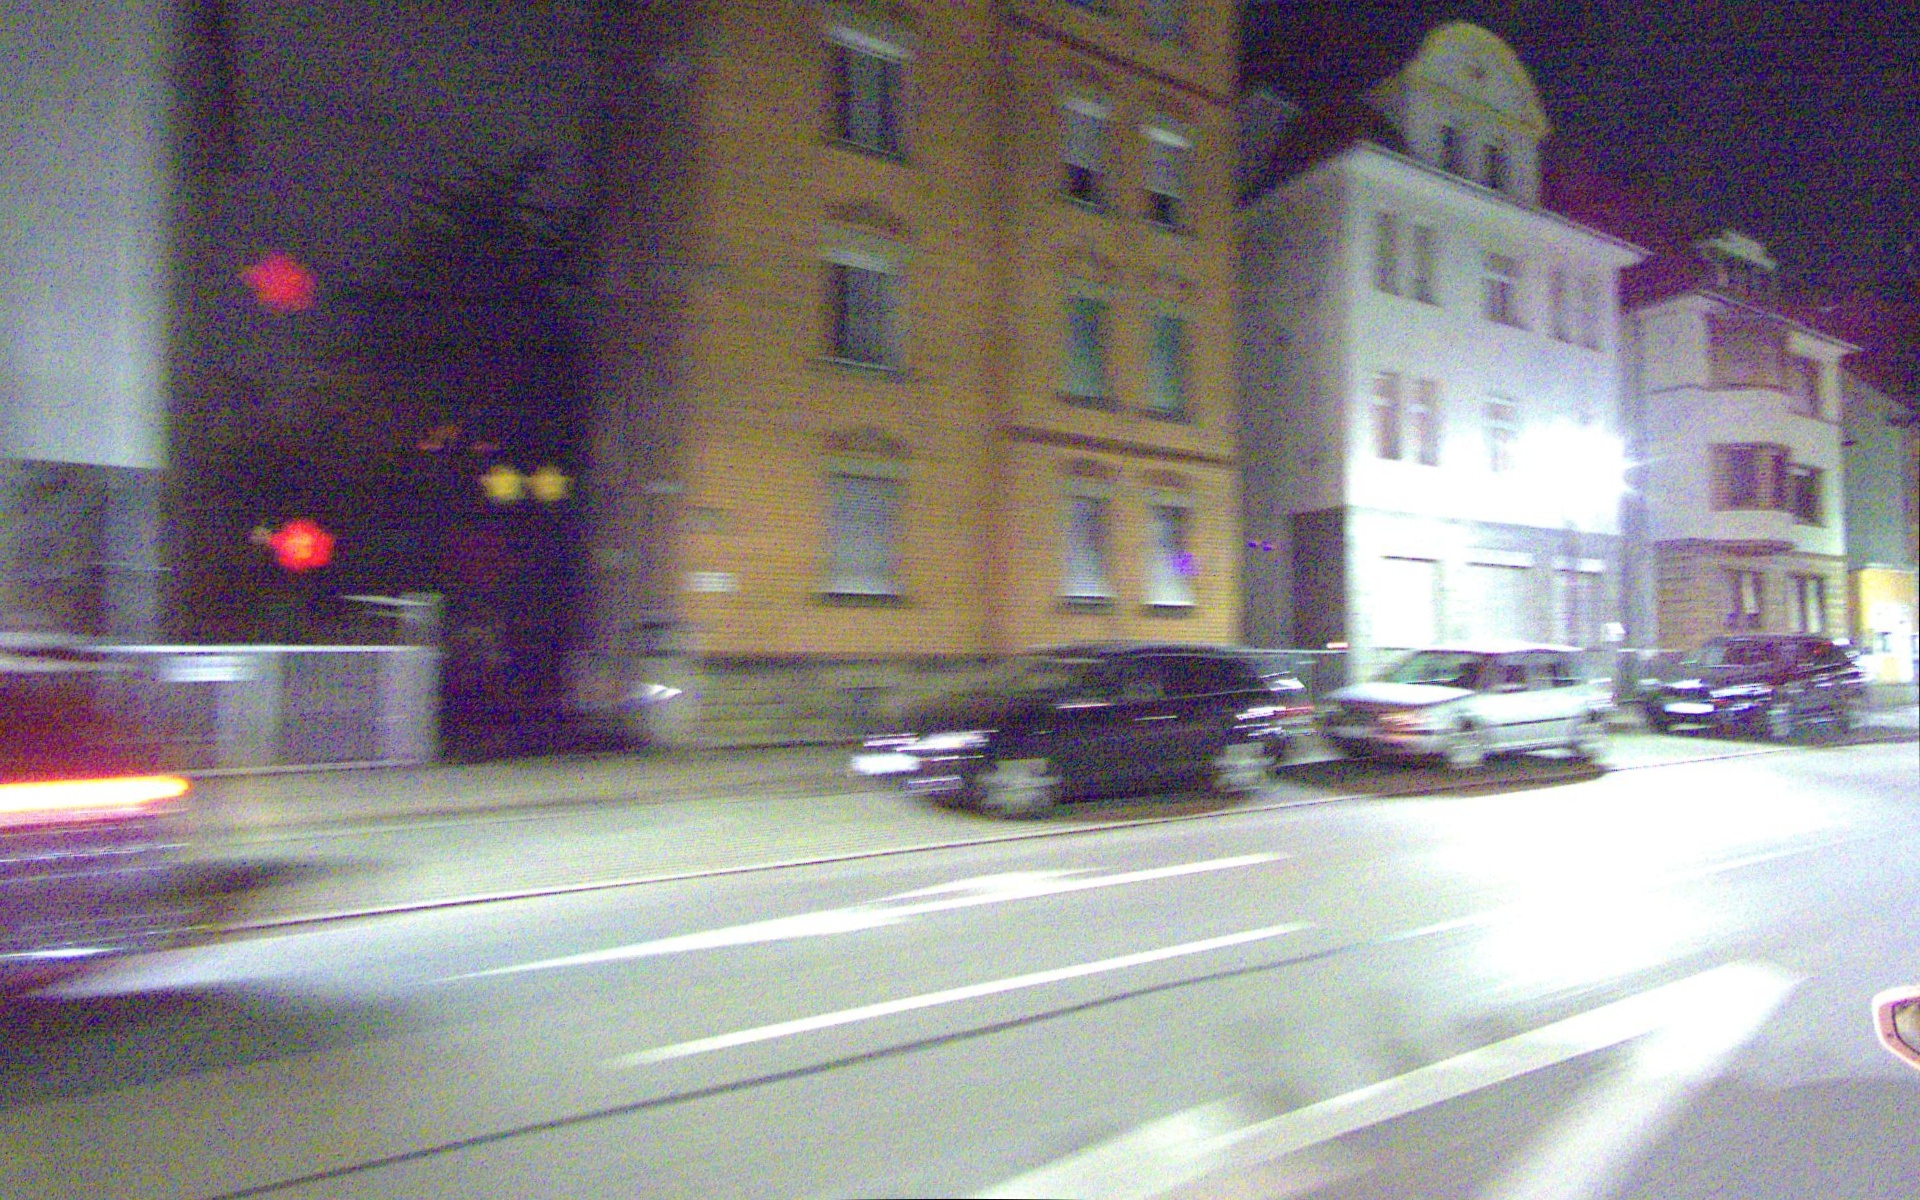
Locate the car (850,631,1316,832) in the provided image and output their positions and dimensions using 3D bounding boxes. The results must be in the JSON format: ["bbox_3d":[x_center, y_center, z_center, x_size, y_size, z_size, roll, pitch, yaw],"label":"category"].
[{"bbox_3d":[1.261,1.084,9.704,4.278,1.511,1.776,1,0,-30],"label":"car"}]

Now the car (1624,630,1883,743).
[{"bbox_3d":[13.088,1.324,16.533,4.356,1.603,1.777,1,0,-28],"label":"car"}]

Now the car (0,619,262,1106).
[{"bbox_3d":[-4.623,0.820,3.016,3.952,1.448,1.708,1,-4,-29],"label":"car"}]

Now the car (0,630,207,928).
[{"bbox_3d":[-6.440,0.918,5.305,3.649,1.511,1.588,1,-1,-25],"label":"car"}]

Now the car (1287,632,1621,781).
[{"bbox_3d":[6.121,1.180,12.378,3.951,1.511,1.777,1,0,-29],"label":"car"}]
